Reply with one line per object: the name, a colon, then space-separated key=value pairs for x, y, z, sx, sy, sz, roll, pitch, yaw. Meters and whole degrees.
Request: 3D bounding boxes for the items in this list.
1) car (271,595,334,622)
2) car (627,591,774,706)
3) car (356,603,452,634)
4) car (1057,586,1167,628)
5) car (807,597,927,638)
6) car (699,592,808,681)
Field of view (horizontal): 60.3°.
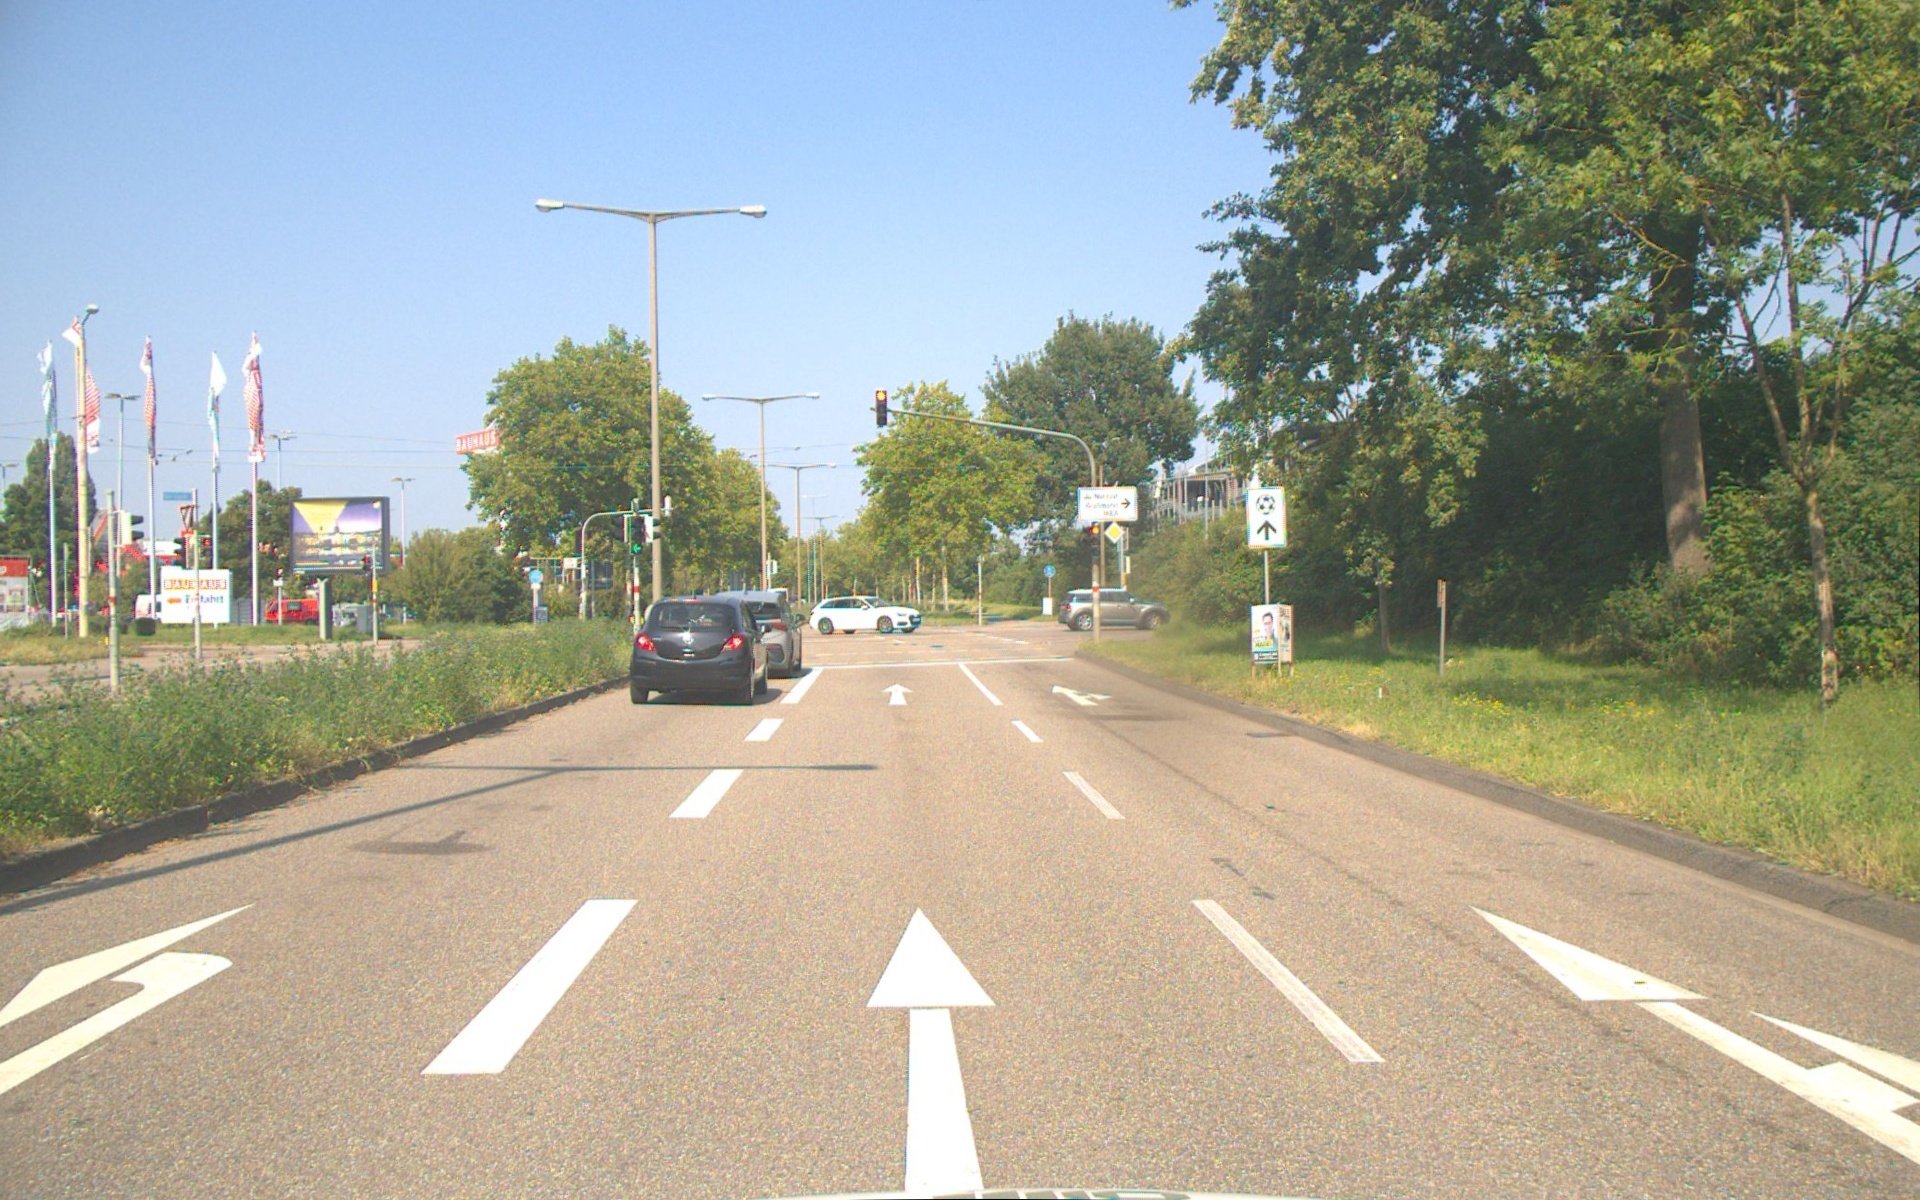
car: x=-51.564 y=0.657 z=129.754 sx=4.242 sy=2.049 sz=1.975 roll=0 pitch=0 yaw=-36
car: x=-3.665 y=0.650 z=23.945 sx=1.658 sy=1.512 sz=3.998 roll=0 pitch=0 yaw=-3
car: x=-22.369 y=0.742 z=66.542 sx=3.303 sy=1.156 sz=1.494 roll=-2 pitch=0 yaw=6
car: x=5.709 y=0.266 z=62.465 sx=3.890 sy=1.512 sz=1.623 roll=0 pitch=0 yaw=-7
car: x=-3.626 y=0.676 z=64.180 sx=4.526 sy=1.512 sz=1.693 roll=0 pitch=0 yaw=33
car: x=-3.784 y=0.621 z=30.852 sx=1.658 sy=1.512 sz=3.998 roll=-2 pitch=0 yaw=-3
